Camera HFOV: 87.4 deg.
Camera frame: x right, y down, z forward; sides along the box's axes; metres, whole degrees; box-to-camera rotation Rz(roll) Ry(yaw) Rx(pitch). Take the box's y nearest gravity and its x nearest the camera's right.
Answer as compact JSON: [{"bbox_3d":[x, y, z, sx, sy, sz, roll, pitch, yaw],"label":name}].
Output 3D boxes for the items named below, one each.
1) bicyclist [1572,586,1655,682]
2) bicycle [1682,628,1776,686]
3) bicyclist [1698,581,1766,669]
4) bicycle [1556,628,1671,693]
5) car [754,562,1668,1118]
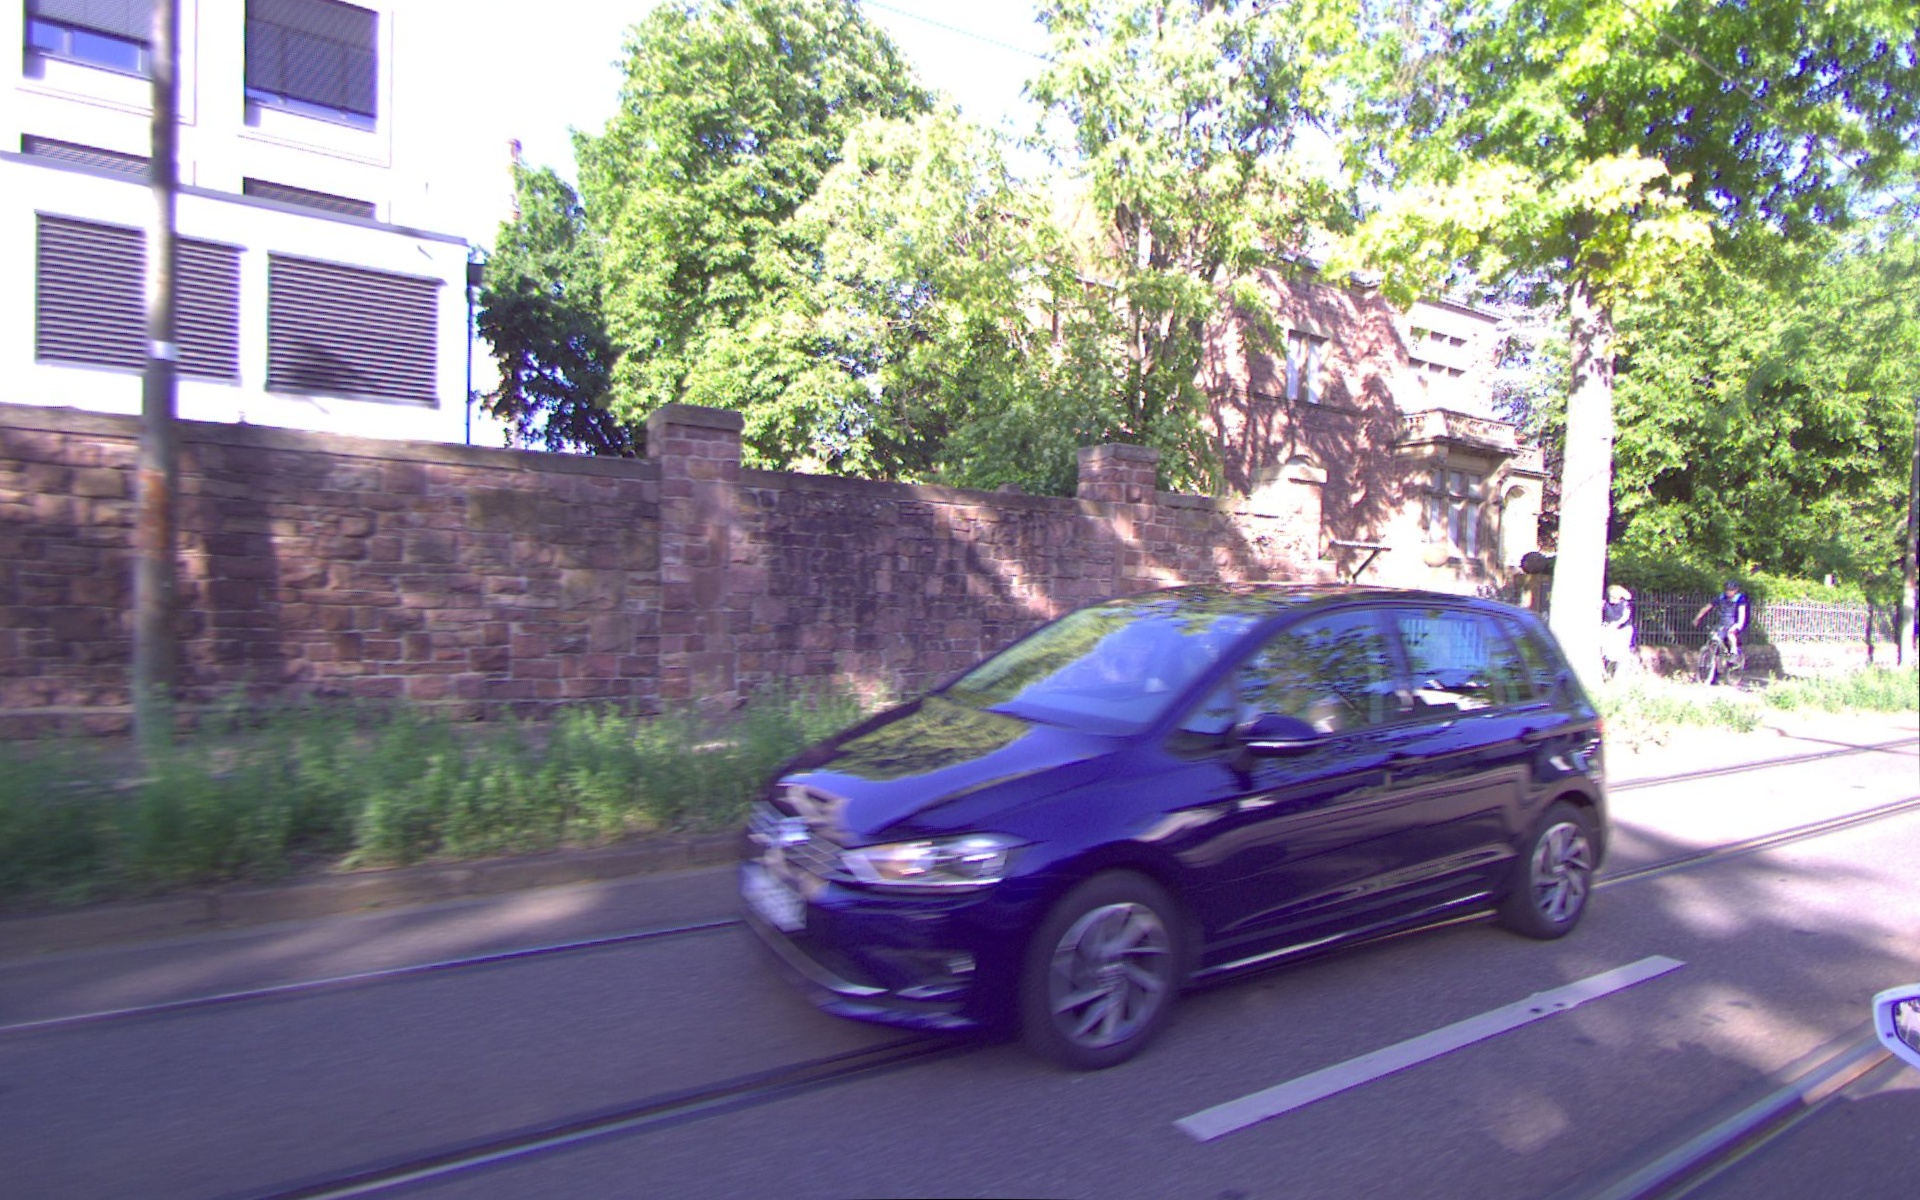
[{"bbox_3d":[10.592,0.534,16.290,1.029,1.490,0.704,1,1,-31],"label":"bicyclist"},{"bbox_3d":[13.960,1.014,18.212,2.107,0.973,0.586,1,1,-31],"label":"bicycle"},{"bbox_3d":[13.999,0.443,18.215,1.049,1.547,0.590,1,1,-31],"label":"bicyclist"},{"bbox_3d":[10.633,0.957,16.333,2.070,0.973,0.707,1,1,-31],"label":"bicycle"},{"bbox_3d":[1.282,0.683,4.593,3.990,1.544,1.739,1,2,-32],"label":"car"}]
